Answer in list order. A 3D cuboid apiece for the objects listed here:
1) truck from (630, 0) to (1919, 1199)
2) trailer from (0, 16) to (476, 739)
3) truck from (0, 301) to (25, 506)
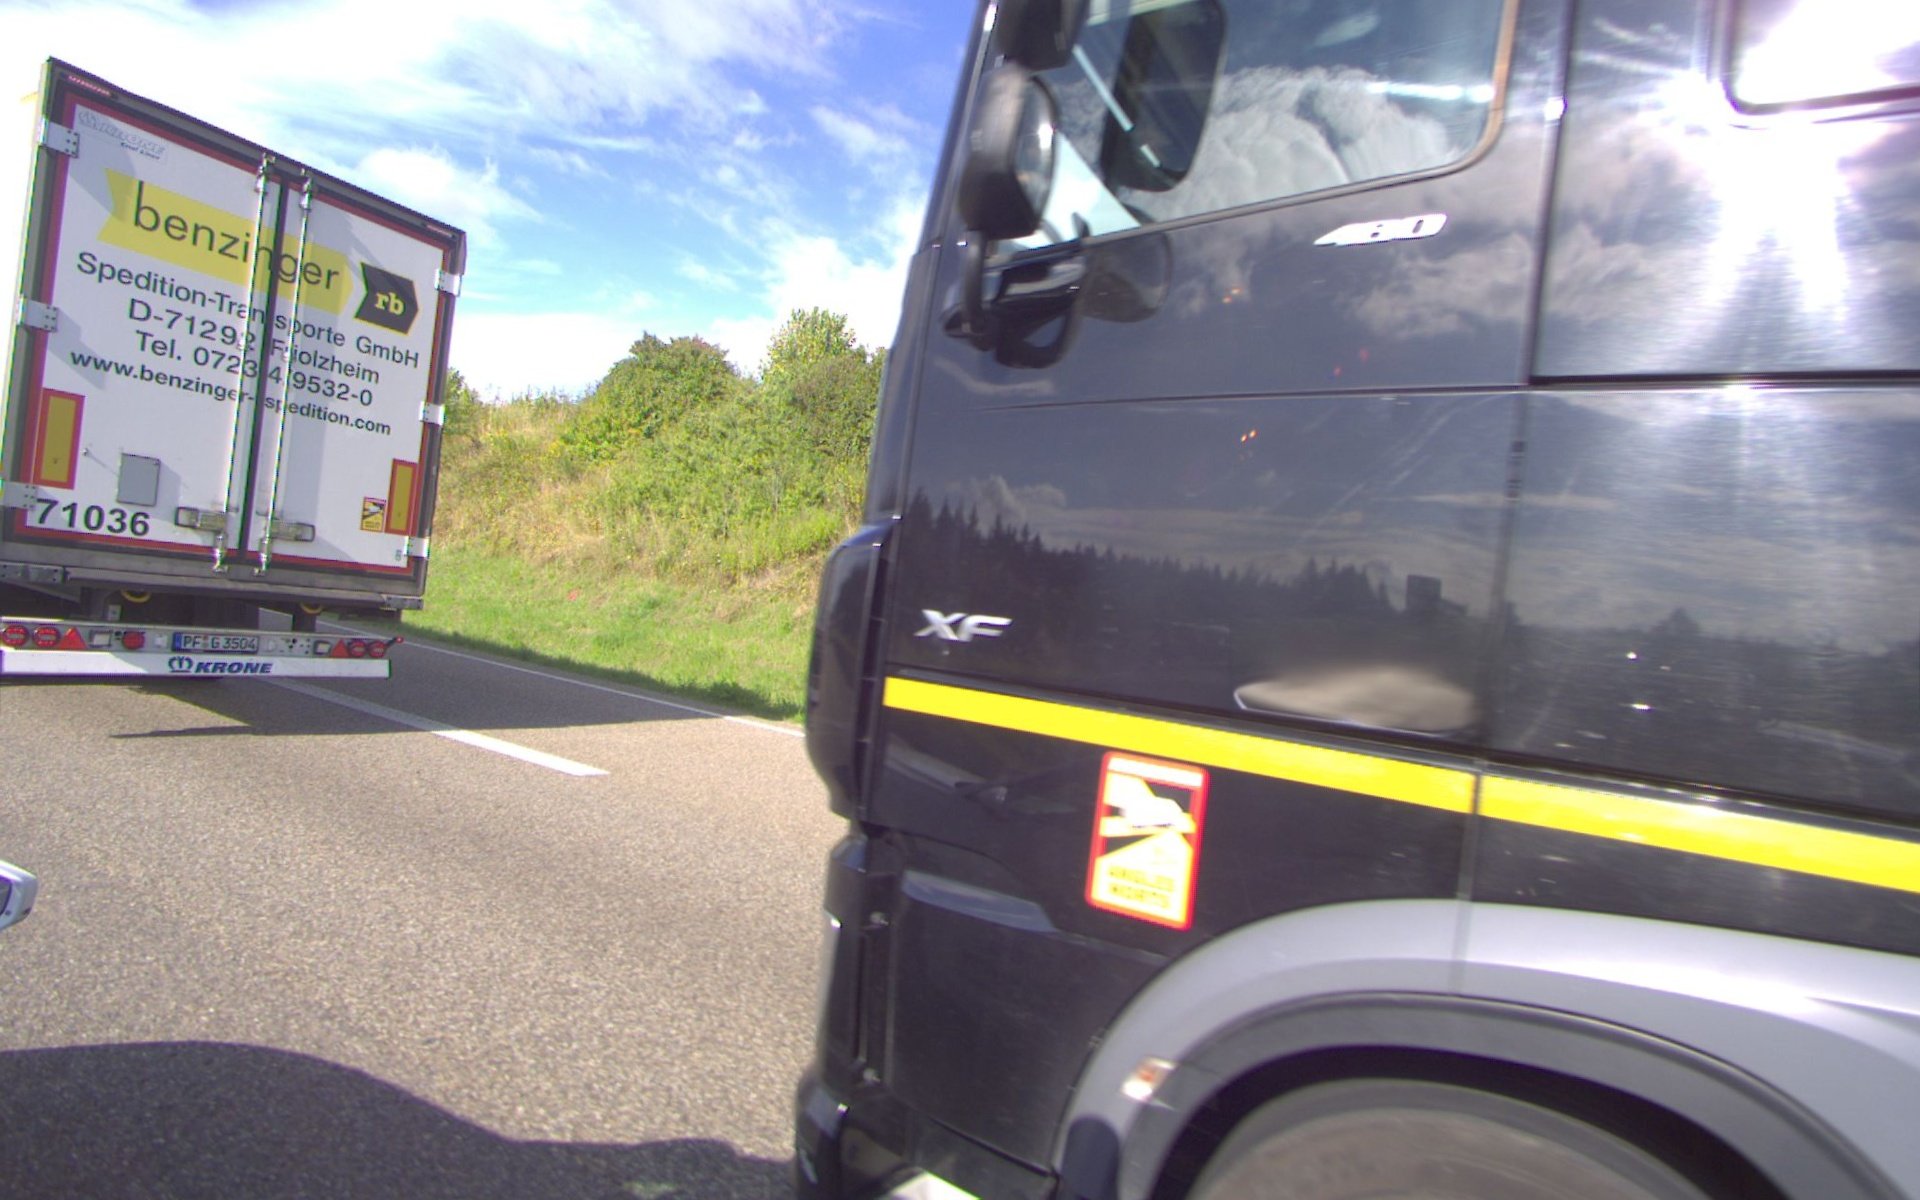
[{"bbox_3d":[4.605,0.057,0.435,10.031,4.082,2.748,7,-3,31],"label":"truck"},{"bbox_3d":[-10.147,-1.680,10.127,12.855,3.985,2.796,6,-1,32],"label":"trailer"},{"bbox_3d":[-15.821,-2.312,13.730,5.730,3.985,2.806,6,-1,32],"label":"truck"}]
